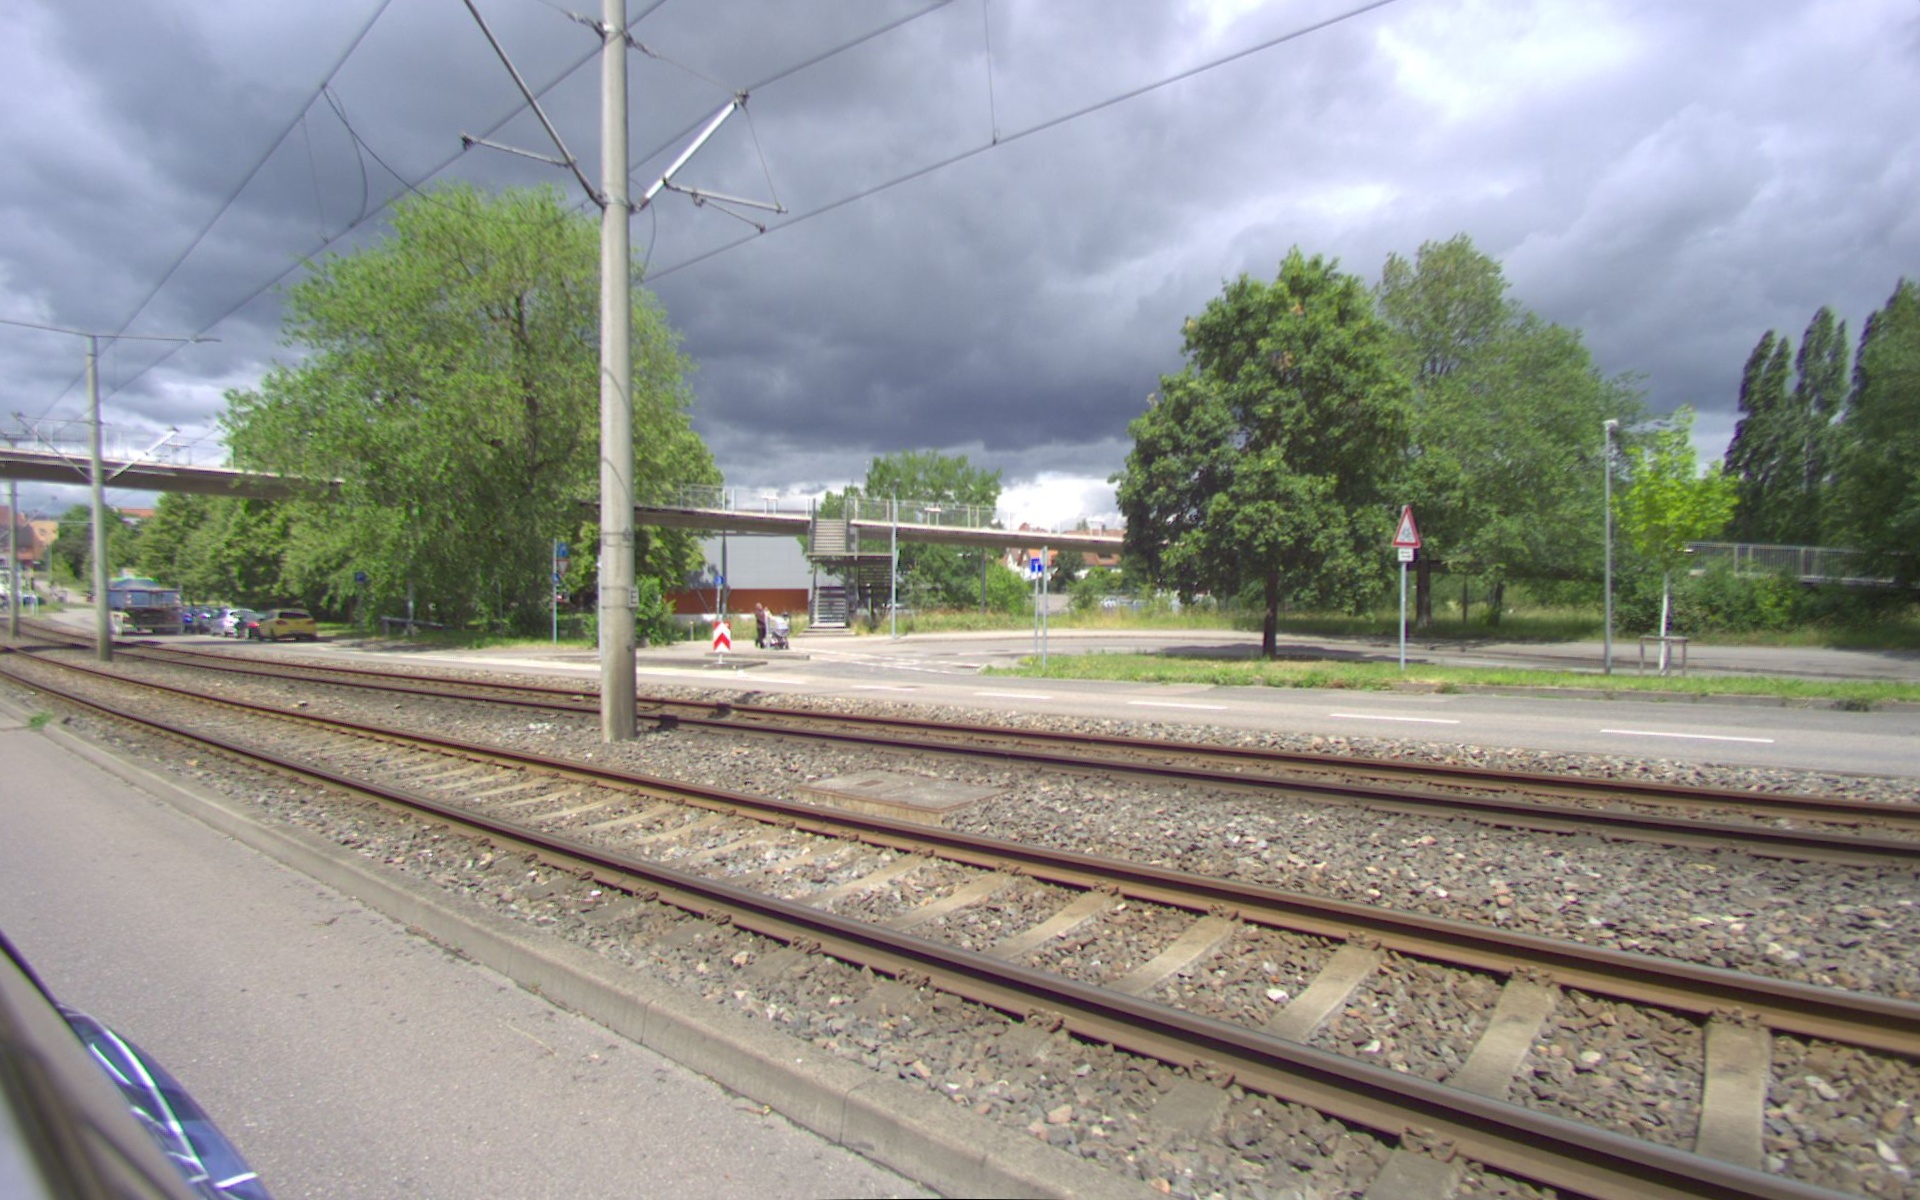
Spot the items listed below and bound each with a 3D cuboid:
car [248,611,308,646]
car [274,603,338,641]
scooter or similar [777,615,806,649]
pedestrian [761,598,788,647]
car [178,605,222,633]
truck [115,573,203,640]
[{"bbox_3d":[-33.461,1.354,49.618,1.670,1.461,3.901,-3,4,-45],"label":"car"},{"bbox_3d":[-29.871,0.970,46.181,1.670,1.461,3.901,-3,4,-45],"label":"car"},{"bbox_3d":[-6.075,1.151,36.505,0.702,1.155,0.788,-3,3,-44],"label":"scooter or similar"},{"bbox_3d":[-6.846,0.824,37.319,0.653,1.768,0.718,-3,3,-45],"label":"pedestrian"},{"bbox_3d":[-45.687,1.119,60.839,1.539,1.608,4.162,2,-1,-45],"label":"car"},{"bbox_3d":[-44.605,0.239,56.215,2.838,3.344,9.038,-3,3,-44],"label":"truck"}]
